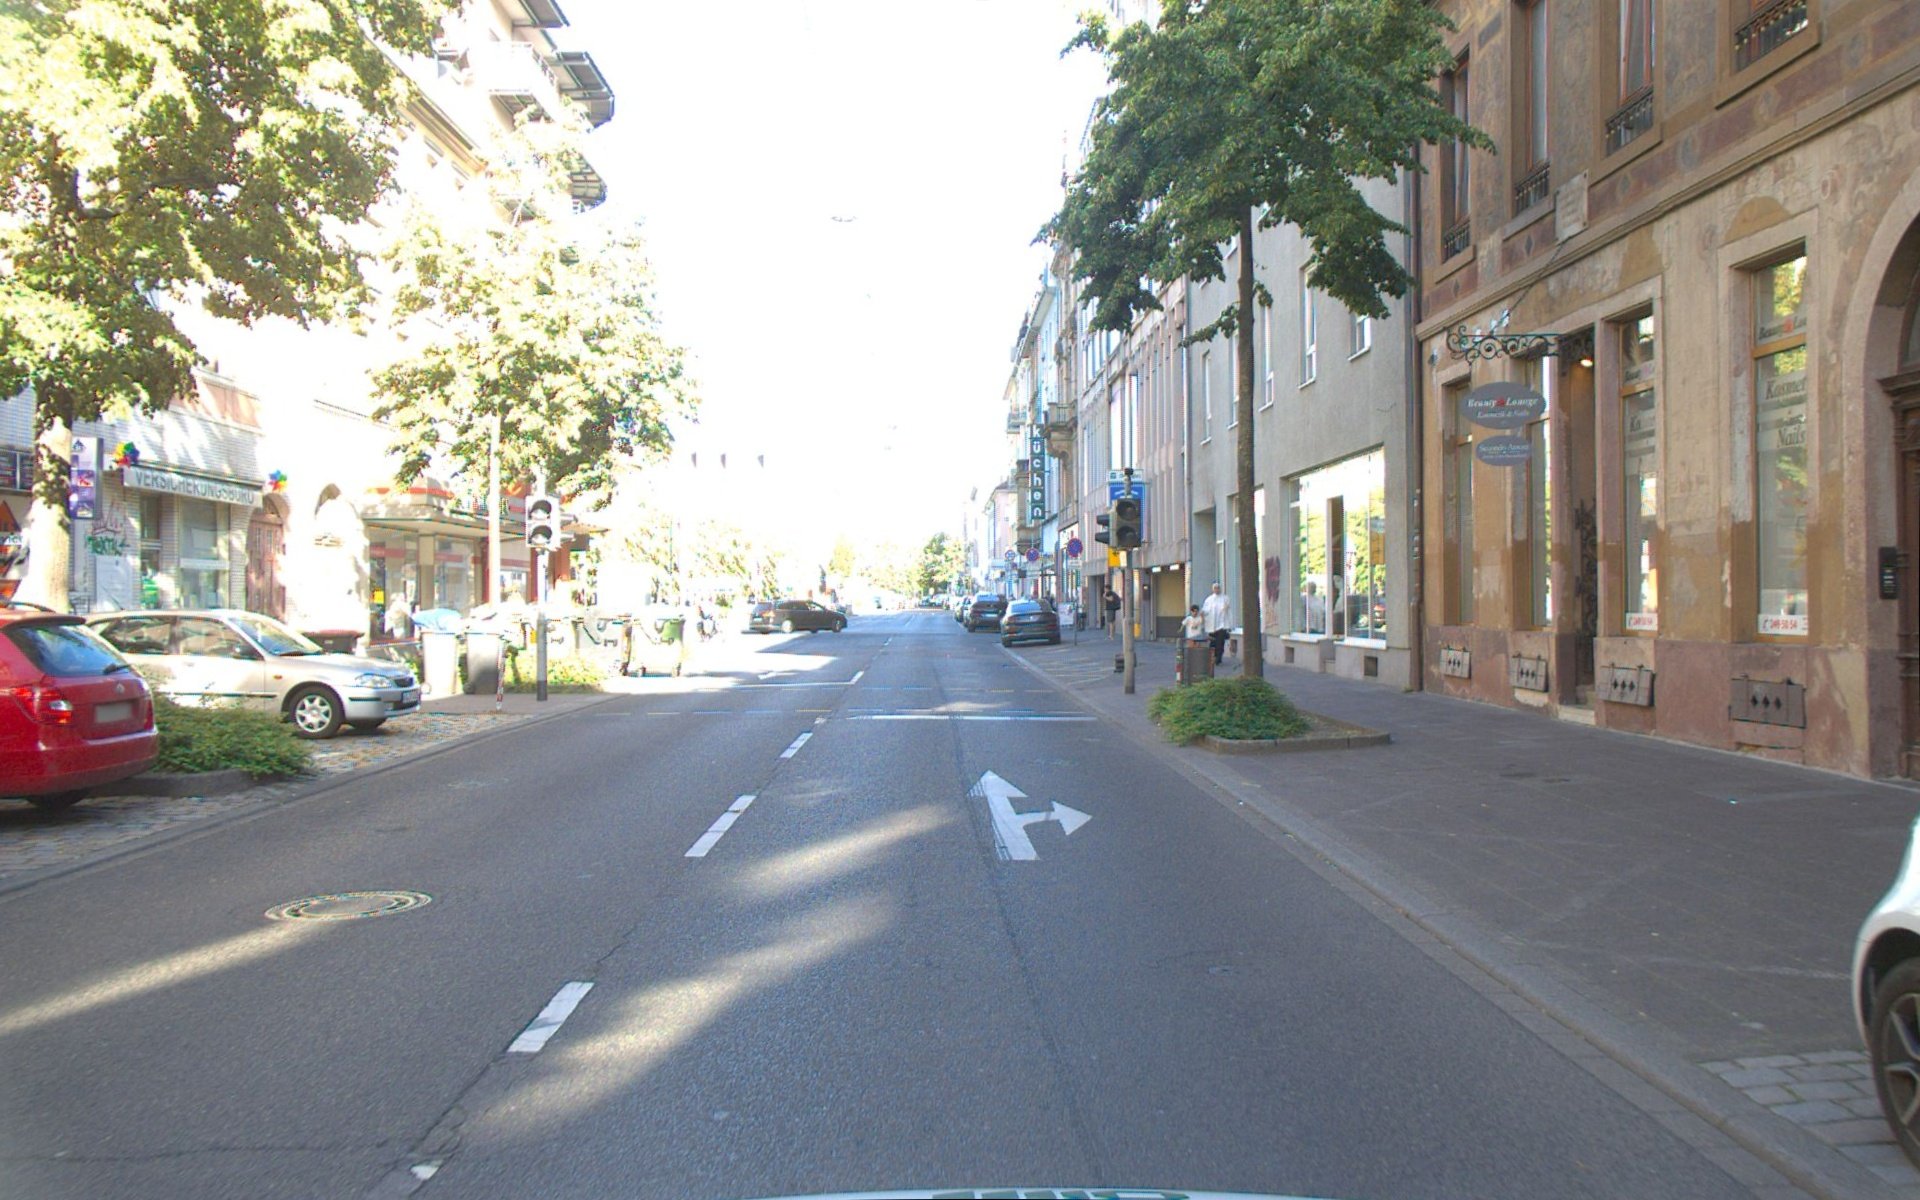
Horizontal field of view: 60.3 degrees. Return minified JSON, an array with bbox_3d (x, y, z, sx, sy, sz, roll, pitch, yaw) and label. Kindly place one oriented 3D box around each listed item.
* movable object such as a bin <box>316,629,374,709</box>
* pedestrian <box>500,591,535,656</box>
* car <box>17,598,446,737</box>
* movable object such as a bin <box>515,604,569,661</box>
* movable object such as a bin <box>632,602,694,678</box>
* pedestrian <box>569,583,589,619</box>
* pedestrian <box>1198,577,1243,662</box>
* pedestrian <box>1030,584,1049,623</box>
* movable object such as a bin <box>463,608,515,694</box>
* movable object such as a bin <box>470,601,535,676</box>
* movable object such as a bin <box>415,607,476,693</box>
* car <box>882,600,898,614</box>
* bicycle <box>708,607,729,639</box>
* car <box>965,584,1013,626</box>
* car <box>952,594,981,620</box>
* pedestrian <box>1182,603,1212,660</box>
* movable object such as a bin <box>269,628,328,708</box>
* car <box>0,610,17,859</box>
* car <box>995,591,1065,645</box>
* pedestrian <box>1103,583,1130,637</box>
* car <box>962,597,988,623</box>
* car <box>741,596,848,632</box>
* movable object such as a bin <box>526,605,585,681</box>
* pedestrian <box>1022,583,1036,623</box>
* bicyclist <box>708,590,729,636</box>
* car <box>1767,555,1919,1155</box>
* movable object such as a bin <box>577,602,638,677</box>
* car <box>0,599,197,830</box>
[{"bbox_3d":[-8.654,0.962,23.287,0.520,1.088,0.805,-1,0,-2],"label":"movable object such as a bin"},{"bbox_3d":[-11.539,0.604,43.159,0.651,1.688,1.036,-1,0,-2],"label":"pedestrian"},{"bbox_3d":[-8.216,0.732,18.895,4.116,1.494,1.740,0,0,1],"label":"car"},{"bbox_3d":[-10.340,0.784,40.933,1.021,1.369,1.313,-1,0,-2],"label":"movable object such as a bin"},{"bbox_3d":[-6.075,0.805,33.893,1.021,1.497,1.452,-1,0,-2],"label":"movable object such as a bin"},{"bbox_3d":[-22.782,0.050,98.947,0.717,2.145,0.967,0,0,21],"label":"pedestrian"},{"bbox_3d":[5.024,0.371,31.943,0.569,1.586,1.020,-3,0,-2],"label":"pedestrian"},{"bbox_3d":[3.582,0.163,74.441,0.784,1.704,0.589,-2,0,1],"label":"pedestrian"},{"bbox_3d":[-7.669,0.814,26.977,0.621,1.364,0.805,-1,0,-2],"label":"movable object such as a bin"},{"bbox_3d":[-9.326,0.772,33.733,1.021,1.497,1.143,-1,0,-2],"label":"movable object such as a bin"},{"bbox_3d":[-8.367,0.805,26.924,0.739,1.364,0.805,-1,0,-2],"label":"movable object such as a bin"},{"bbox_3d":[-9.500,0.913,223.590,1.953,1.803,4.000,1,1,0],"label":"car"},{"bbox_3d":[-9.010,0.856,61.781,0.692,1.166,1.965,-1,0,-6],"label":"bicycle"},{"bbox_3d":[1.252,0.189,72.738,1.933,1.755,4.823,1,0,-1],"label":"car"},{"bbox_3d":[0.420,0.491,108.535,1.682,1.664,4.082,1,-1,-3],"label":"car"},{"bbox_3d":[4.546,0.604,31.724,0.385,1.051,0.739,-3,0,-2],"label":"pedestrian"},{"bbox_3d":[-9.295,0.945,23.267,0.520,1.088,0.805,-1,0,-2],"label":"movable object such as a bin"},{"bbox_3d":[-7.494,0.783,8.929,3.762,1.454,1.789,0,0,0],"label":"car"},{"bbox_3d":[2.195,0.535,53.161,1.879,1.504,4.963,-4,0,-1],"label":"car"},{"bbox_3d":[4.917,0.301,51.985,0.678,1.664,0.889,-3,0,-2],"label":"pedestrian"},{"bbox_3d":[0.955,0.596,103.150,1.580,1.573,2.855,1,0,0],"label":"car"},{"bbox_3d":[-7.016,0.573,70.382,4.234,1.513,1.912,0,0,-42],"label":"car"},{"bbox_3d":[-8.258,0.864,33.795,0.944,1.497,1.143,-1,0,-2],"label":"movable object such as a bin"},{"bbox_3d":[3.088,0.128,74.448,0.607,1.797,0.518,-1,0,1],"label":"pedestrian"},{"bbox_3d":[-8.997,0.493,61.597,0.683,1.682,1.034,-1,0,-6],"label":"bicyclist"},{"bbox_3d":[3.278,0.629,3.437,1.581,1.555,3.059,-2,0,-2],"label":"car"},{"bbox_3d":[-7.207,0.794,33.838,1.021,1.497,1.143,-1,0,-2],"label":"movable object such as a bin"},{"bbox_3d":[-7.601,0.745,11.609,3.672,1.494,1.739,0,0,-2],"label":"car"}]
